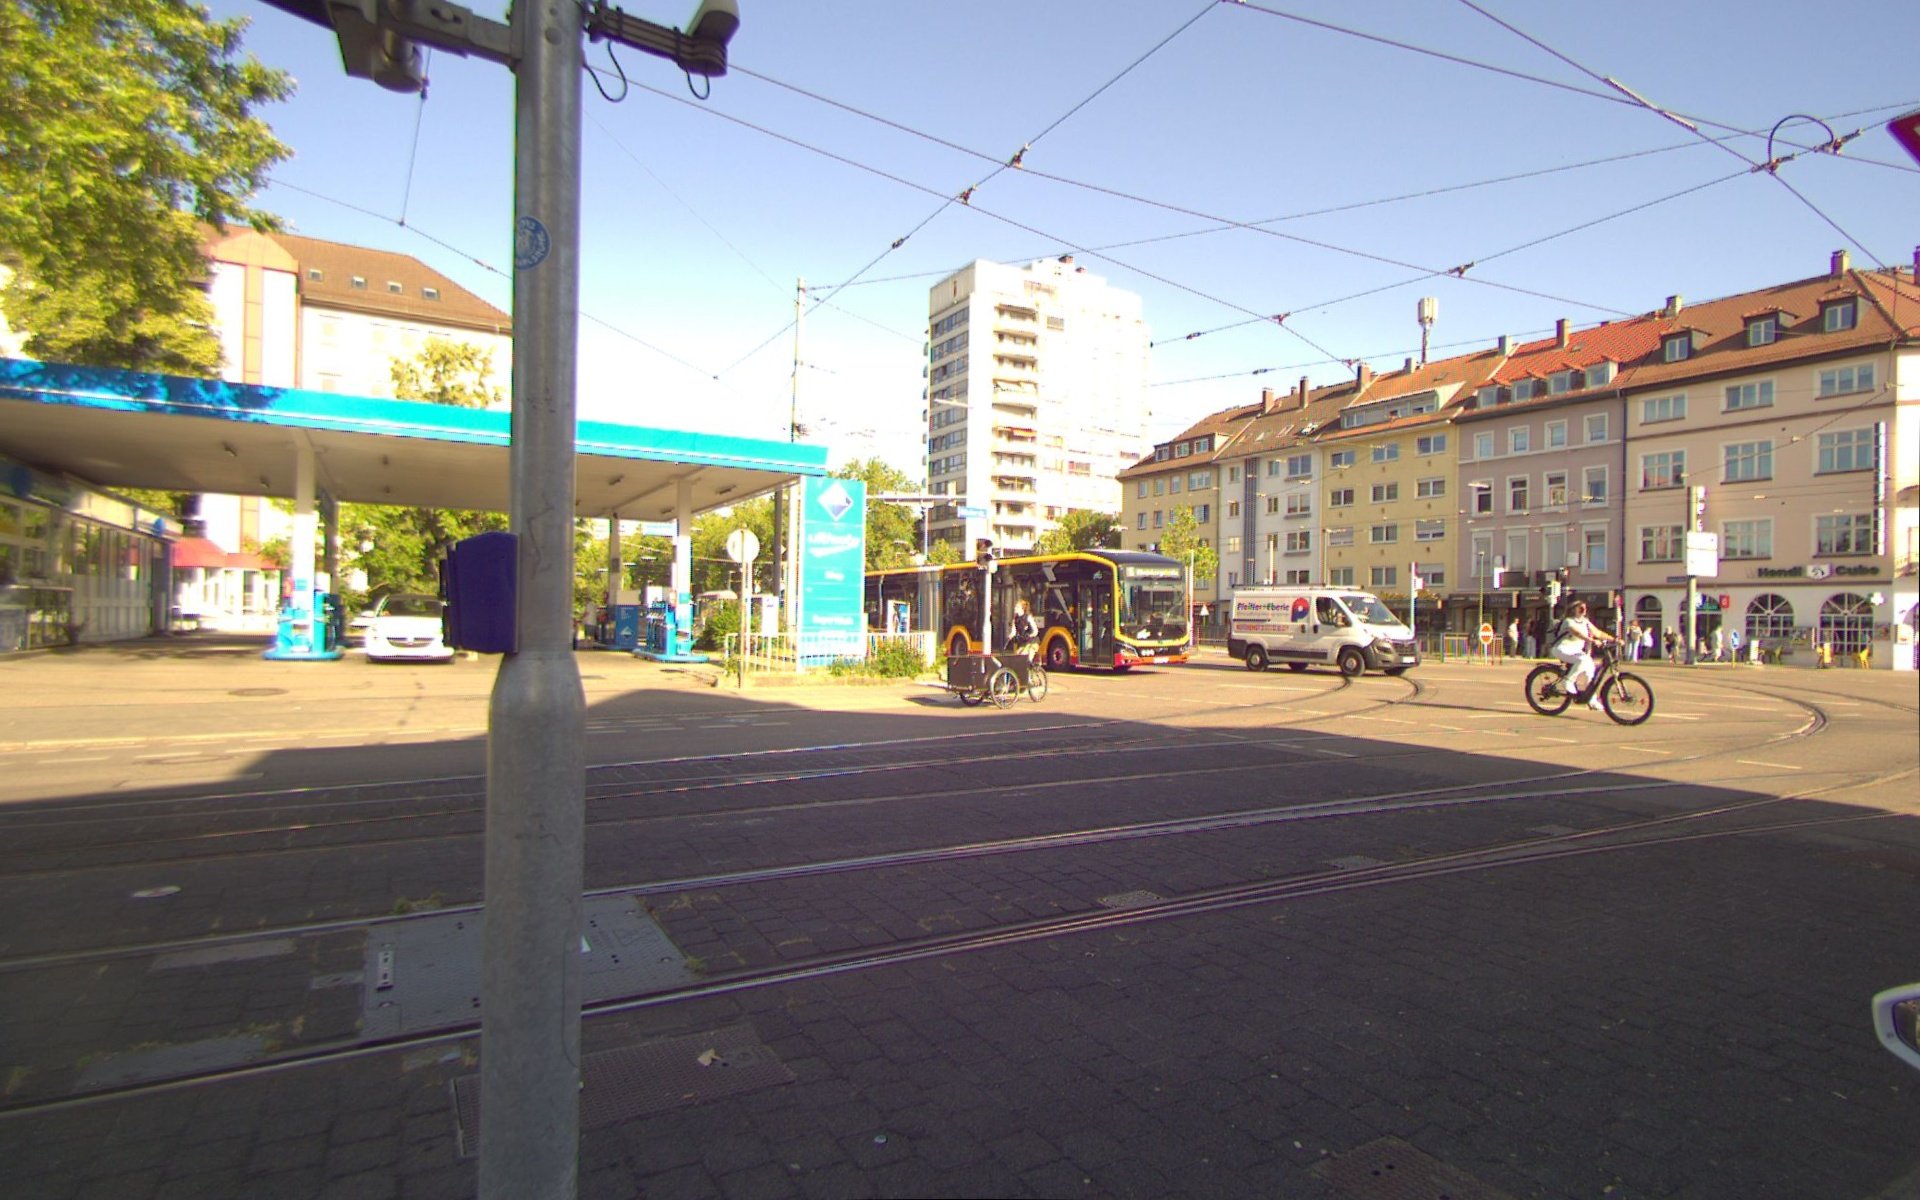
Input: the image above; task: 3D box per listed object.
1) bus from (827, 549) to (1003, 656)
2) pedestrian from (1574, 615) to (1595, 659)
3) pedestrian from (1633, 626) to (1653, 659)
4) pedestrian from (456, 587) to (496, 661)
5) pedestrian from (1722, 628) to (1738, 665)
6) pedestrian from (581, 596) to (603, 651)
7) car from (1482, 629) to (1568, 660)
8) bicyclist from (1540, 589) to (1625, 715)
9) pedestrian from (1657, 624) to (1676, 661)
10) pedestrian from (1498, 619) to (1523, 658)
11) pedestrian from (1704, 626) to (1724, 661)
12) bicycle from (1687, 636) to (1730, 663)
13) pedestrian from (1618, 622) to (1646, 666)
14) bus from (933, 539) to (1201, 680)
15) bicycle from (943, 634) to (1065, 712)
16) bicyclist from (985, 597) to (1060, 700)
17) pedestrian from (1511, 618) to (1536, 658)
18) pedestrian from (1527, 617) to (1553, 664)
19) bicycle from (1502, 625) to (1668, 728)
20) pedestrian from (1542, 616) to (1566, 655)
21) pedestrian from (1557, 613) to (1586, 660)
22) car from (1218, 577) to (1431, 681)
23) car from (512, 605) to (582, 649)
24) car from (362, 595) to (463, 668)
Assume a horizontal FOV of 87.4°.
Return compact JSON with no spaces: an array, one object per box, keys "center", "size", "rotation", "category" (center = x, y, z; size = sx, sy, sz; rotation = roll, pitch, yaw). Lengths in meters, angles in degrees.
[{"center":[-1.924,0.042,37.309],"size":[2.756,3.504,8.568],"rotation":[0,1,-31],"category":"bus"},{"center":[25.549,1.507,41.121],"size":[0.554,1.810,0.556],"rotation":[1,-1,-35],"category":"pedestrian"},{"center":[35.631,2.216,52.371],"size":[0.623,1.704,0.734],"rotation":[1,-1,-41],"category":"pedestrian"},{"center":[-11.463,0.575,23.801],"size":[0.753,1.715,0.581],"rotation":[1,-1,-34],"category":"pedestrian"},{"center":[26.951,1.632,35.147],"size":[0.447,1.270,0.361],"rotation":[1,-1,-41],"category":"pedestrian"},{"center":[-11.752,0.754,32.061],"size":[0.579,1.715,0.756],"rotation":[1,-1,-25],"category":"pedestrian"},{"center":[30.744,2.403,54.775],"size":[1.795,1.511,3.715],"rotation":[2,0,-27],"category":"car"},{"center":[8.908,0.723,14.379],"size":[0.725,1.737,0.794],"rotation":[1,-1,-31],"category":"bicyclist"},{"center":[33.903,2.027,48.176],"size":[0.731,1.704,0.626],"rotation":[0,-1,35],"category":"pedestrian"},{"center":[24.182,1.684,44.149],"size":[0.621,1.704,0.763],"rotation":[1,-1,-30],"category":"pedestrian"},{"center":[36.705,2.114,48.919],"size":[0.731,1.704,0.626],"rotation":[0,-1,35],"category":"pedestrian"},{"center":[37.671,2.465,50.539],"size":[1.693,1.293,0.385],"rotation":[0,-1,44],"category":"bicycle"},{"center":[26.615,1.735,39.792],"size":[0.621,1.704,0.737],"rotation":[1,-1,-30],"category":"pedestrian"},{"center":[2.726,0.183,29.647],"size":[2.748,3.504,9.361],"rotation":[0,1,-31],"category":"bus"},{"center":[0.777,1.151,16.498],"size":[1.040,1.116,2.516],"rotation":[1,-1,27],"category":"bicycle"},{"center":[1.062,0.797,17.008],"size":[0.917,1.659,1.027],"rotation":[1,-1,27],"category":"bicyclist"},{"center":[23.677,1.593,42.218],"size":[0.565,1.657,0.737],"rotation":[1,-1,-30],"category":"pedestrian"},{"center":[23.902,1.660,41.386],"size":[0.769,1.874,0.625],"rotation":[1,-1,-30],"category":"pedestrian"},{"center":[8.871,1.039,14.350],"size":[0.616,1.316,1.930],"rotation":[1,0,-31],"category":"bicycle"},{"center":[25.041,1.498,42.339],"size":[0.554,1.602,0.694],"rotation":[1,-1,-35],"category":"pedestrian"},{"center":[24.696,1.472,40.560],"size":[0.714,1.853,0.763],"rotation":[1,-1,-30],"category":"pedestrian"},{"center":[9.517,0.711,26.675],"size":[2.059,2.465,5.079],"rotation":[0,0,-34],"category":"car"},{"center":[-13.577,0.861,32.874],"size":[1.697,1.360,3.970],"rotation":[1,-1,-28],"category":"car"},{"center":[-12.356,0.673,22.553],"size":[1.793,1.461,3.966],"rotation":[1,-1,-31],"category":"car"}]
